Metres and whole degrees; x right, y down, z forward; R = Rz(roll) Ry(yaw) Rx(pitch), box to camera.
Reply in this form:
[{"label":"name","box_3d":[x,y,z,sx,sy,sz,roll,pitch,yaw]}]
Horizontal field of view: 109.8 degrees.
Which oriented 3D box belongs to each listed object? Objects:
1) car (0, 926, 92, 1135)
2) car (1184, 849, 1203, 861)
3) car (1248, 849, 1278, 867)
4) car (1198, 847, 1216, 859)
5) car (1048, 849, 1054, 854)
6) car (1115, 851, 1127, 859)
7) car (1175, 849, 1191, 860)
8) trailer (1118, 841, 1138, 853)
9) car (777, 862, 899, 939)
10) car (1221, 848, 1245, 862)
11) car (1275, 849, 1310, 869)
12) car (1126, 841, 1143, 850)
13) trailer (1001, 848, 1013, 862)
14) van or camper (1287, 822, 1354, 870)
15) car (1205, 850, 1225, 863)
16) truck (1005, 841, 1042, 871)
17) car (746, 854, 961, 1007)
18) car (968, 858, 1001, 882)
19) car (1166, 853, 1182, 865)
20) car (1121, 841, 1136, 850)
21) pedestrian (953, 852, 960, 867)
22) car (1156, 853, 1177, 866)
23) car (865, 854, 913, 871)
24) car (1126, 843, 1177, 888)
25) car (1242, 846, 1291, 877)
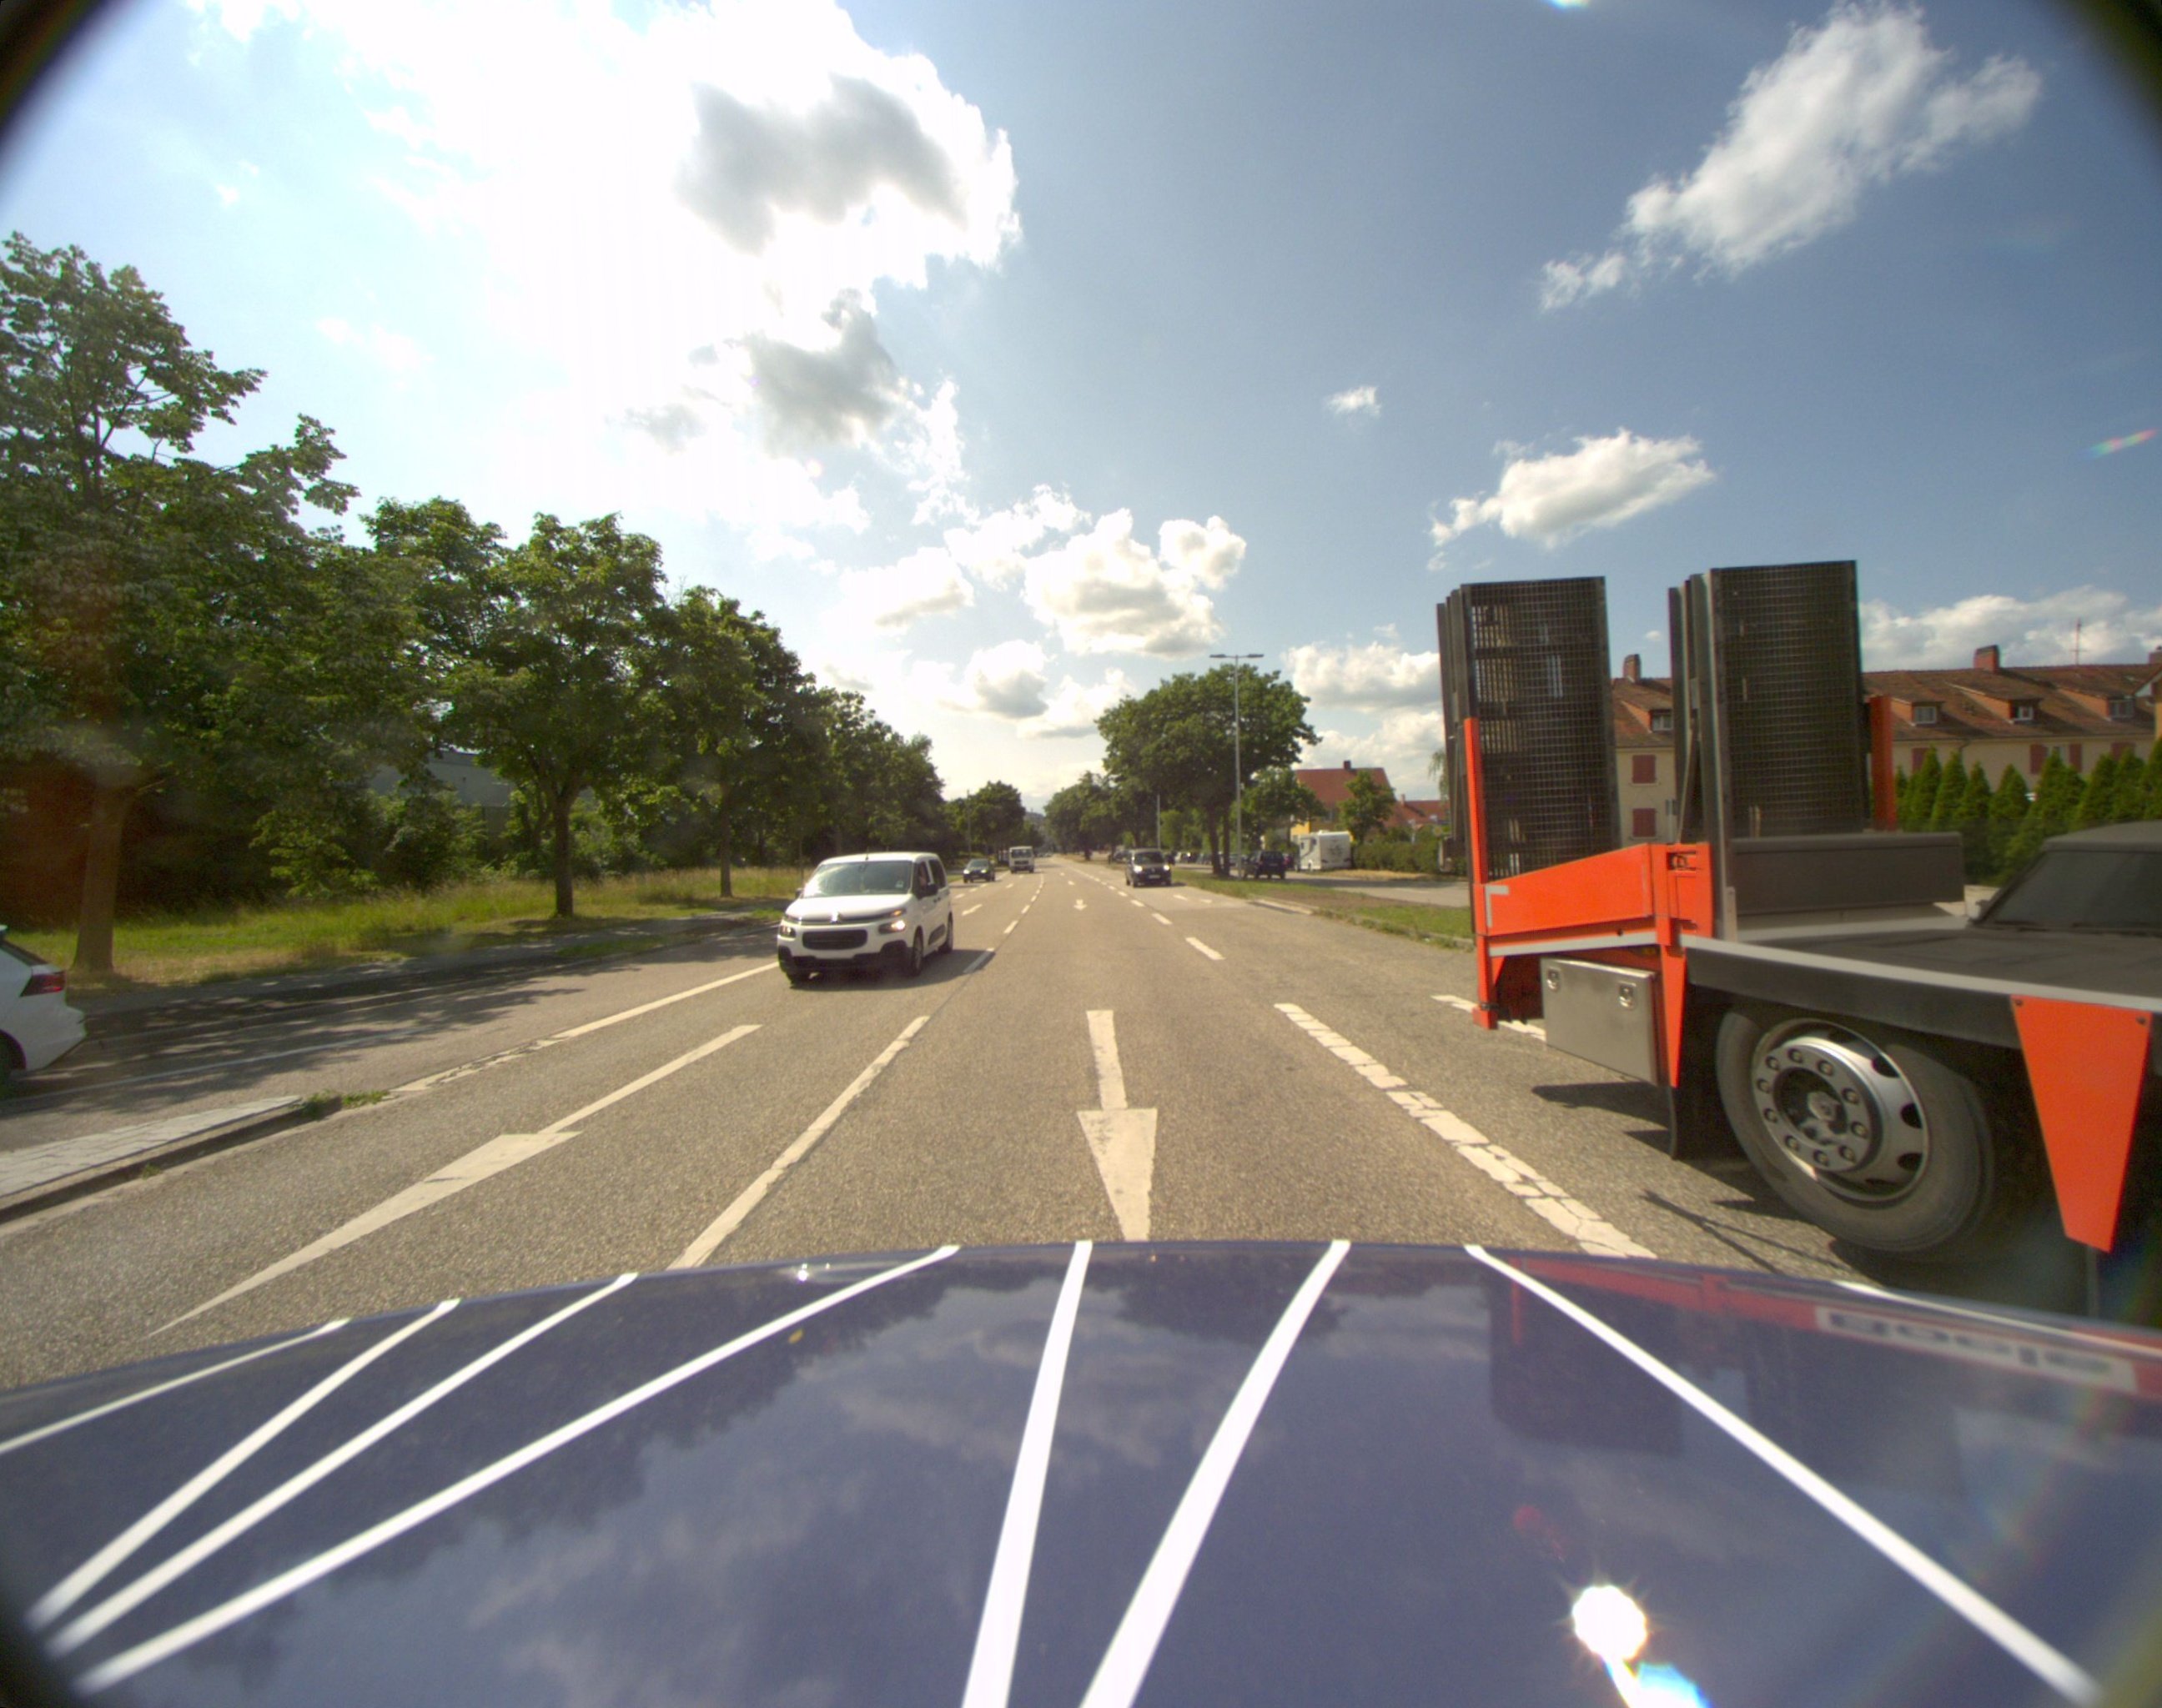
[{"label":"car","box_3d":[-9.317,1.361,4.346,1.734,1.477,4.098,-2,0,22]},{"label":"car","box_3d":[15.644,0.115,105.619,1.665,1.473,4.102,-4,0,-4]},{"label":"car","box_3d":[16.898,0.328,70.594,1.693,1.477,4.122,-4,1,-1]},{"label":"car","box_3d":[16.102,-0.166,97.091,1.567,1.387,3.475,-4,1,-3]},{"label":"car","box_3d":[-9.278,-0.702,233.818,1.892,1.281,3.998,-4,1,-4]},{"label":"car","box_3d":[7.735,0.183,147.398,1.737,1.499,4.649,2,1,-4]},{"label":"car","box_3d":[15.103,0.048,112.672,1.665,1.443,3.845,-4,1,-4]},{"label":"trailer","box_3d":[13.447,-2.089,215.161,2.821,3.090,5.763,-3,1,35]},{"label":"car","box_3d":[-6.427,1.166,20.640,1.770,1.640,4.237,-3,1,1]},{"label":"car","box_3d":[16.426,0.101,82.256,1.515,1.362,4.530,-4,0,-1]},{"label":"car","box_3d":[17.235,0.375,62.081,1.640,1.477,3.991,-4,1,-1]},{"label":"car","box_3d":[13.435,-2.207,190.693,1.800,2.002,4.007,-2,2,44]},{"label":"trailer","box_3d":[-12.521,0.134,128.924,1.958,2.338,4.603,0,1,-5]},{"label":"van or camper","box_3d":[17.232,-0.533,55.099,2.265,3.094,7.319,-4,0,-1]},{"label":"car","box_3d":[16.353,0.287,92.590,1.406,1.387,4.355,-4,1,-3]},{"label":"truck","box_3d":[-5.651,0.134,75.966,2.848,2.649,7.350,-3,1,1]},{"label":"car","box_3d":[-3.183,0.946,11.776,1.936,1.775,4.714,-4,0,-2]},{"label":"car","box_3d":[-6.950,1.127,54.920,1.758,1.482,3.999,-3,1,1]},{"label":"car","box_3d":[14.692,0.792,120.235,1.665,1.603,4.312,-4,1,-4]},{"label":"car","box_3d":[12.372,-2.272,198.229,1.800,2.002,4.007,-2,2,44]},{"label":"pedestrian","box_3d":[-14.984,0.630,91.323,0.719,1.784,0.739,-4,2,-4]},{"label":"car","box_3d":[10.076,0.639,89.723,1.776,1.430,4.574,-1,1,-3]},{"label":"car","box_3d":[-18.114,0.805,71.724,4.176,1.484,1.783,1,-1,-8]},{"label":"car","box_3d":[3.271,0.474,35.941,1.768,1.893,4.539,-4,1,-1]},{"label":"car","box_3d":[10.680,0.414,43.970,1.799,1.679,3.999,-1,1,-1]}]
